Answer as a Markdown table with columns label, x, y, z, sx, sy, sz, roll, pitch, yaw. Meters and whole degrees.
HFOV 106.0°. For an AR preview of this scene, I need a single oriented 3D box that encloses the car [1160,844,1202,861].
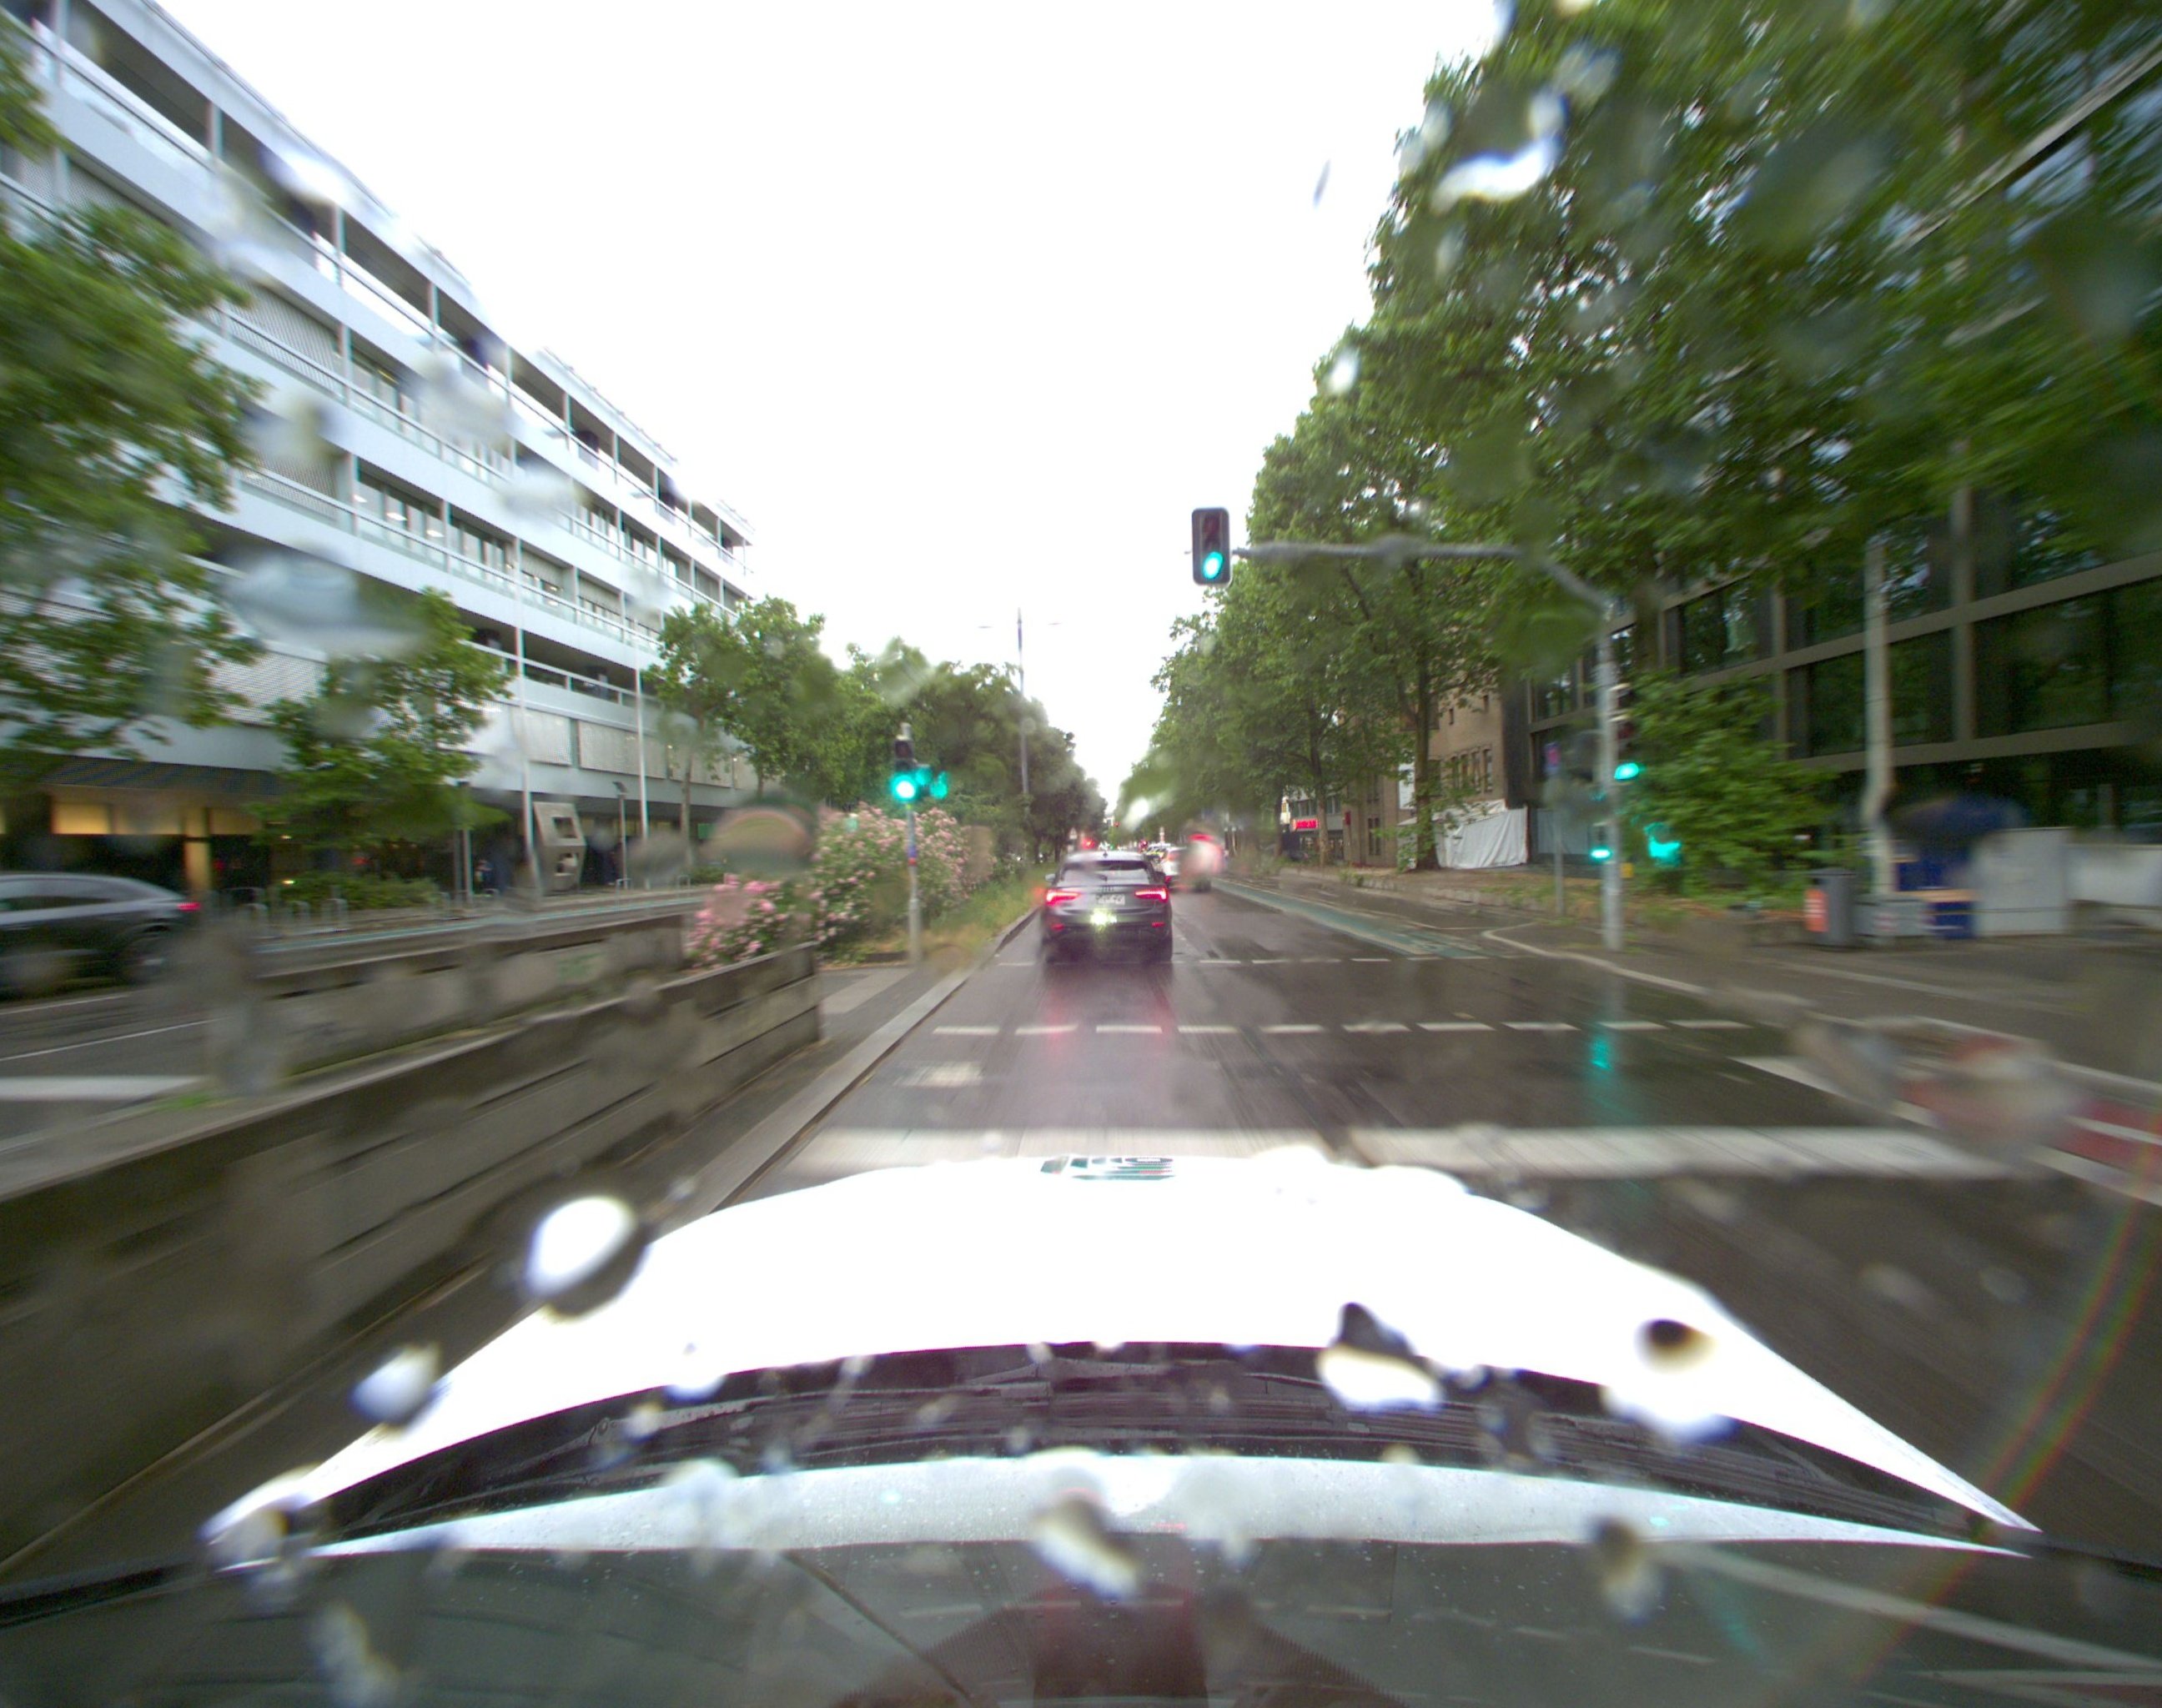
| label | x | y | z | sx | sy | sz | roll | pitch | yaw |
| --- | --- | --- | --- | --- | --- | --- | --- | --- | --- |
| car | 11.793 | -0.180 | 95.930 | 4.548 | 2.014 | 1.980 | -1 | -1 | 39 |

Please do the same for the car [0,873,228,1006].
| label | x | y | z | sx | sy | sz | roll | pitch | yaw |
| --- | --- | --- | --- | --- | --- | --- | --- | --- | --- |
| car | -14.140 | 1.066 | 10.079 | 1.900 | 1.584 | 4.753 | 0 | 0 | 5 |

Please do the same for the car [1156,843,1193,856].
| label | x | y | z | sx | sy | sz | roll | pitch | yaw |
| --- | --- | --- | --- | --- | --- | --- | --- | --- | --- |
| car | 12.591 | -0.583 | 109.647 | 4.594 | 1.706 | 2.012 | -1 | -1 | 29 |

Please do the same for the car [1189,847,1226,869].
| label | x | y | z | sx | sy | sz | roll | pitch | yaw |
| --- | --- | --- | --- | --- | --- | --- | --- | --- | --- |
| car | 8.512 | 0.277 | 55.143 | 1.866 | 1.421 | 4.612 | 0 | 0 | 1 |

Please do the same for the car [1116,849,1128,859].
| label | x | y | z | sx | sy | sz | roll | pitch | yaw |
| --- | --- | --- | --- | --- | --- | --- | --- | --- | --- |
| car | 6.907 | -0.062 | 137.794 | 1.986 | 1.651 | 4.001 | 0 | 0 | 2 |

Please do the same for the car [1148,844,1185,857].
| label | x | y | z | sx | sy | sz | roll | pitch | yaw |
| --- | --- | --- | --- | --- | --- | --- | --- | --- | --- |
| car | 11.919 | -0.502 | 113.354 | 4.594 | 1.706 | 2.012 | -1 | -1 | 29 |

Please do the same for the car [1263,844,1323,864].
| label | x | y | z | sx | sy | sz | roll | pitch | yaw |
| --- | --- | --- | --- | --- | --- | --- | --- | --- | --- |
| car | 11.746 | 0.007 | 45.120 | 2.856 | 1.074 | 1.465 | -1 | -1 | 32 |

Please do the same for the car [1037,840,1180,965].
| label | x | y | z | sx | sy | sz | roll | pitch | yaw |
| --- | --- | --- | --- | --- | --- | --- | --- | --- | --- |
| car | 0.373 | 0.631 | 12.681 | 1.843 | 1.602 | 4.000 | -1 | 0 | 0 |

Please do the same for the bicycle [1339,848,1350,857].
| label | x | y | z | sx | sy | sz | roll | pitch | yaw |
| --- | --- | --- | --- | --- | --- | --- | --- | --- | --- |
| bicycle | 25.863 | -0.135 | 80.020 | 0.446 | 0.836 | 2.027 | 0 | 0 | 2 |

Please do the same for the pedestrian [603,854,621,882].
| label | x | y | z | sx | sy | sz | roll | pitch | yaw |
| --- | --- | --- | --- | --- | --- | --- | --- | --- | --- |
| pedestrian | -24.891 | 0.743 | 43.247 | 0.608 | 1.482 | 0.574 | 0 | -1 | -2 |

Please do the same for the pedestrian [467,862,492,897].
| label | x | y | z | sx | sy | sz | roll | pitch | yaw |
| --- | --- | --- | --- | --- | --- | --- | --- | --- | --- |
| pedestrian | -24.298 | 1.017 | 32.894 | 0.636 | 1.379 | 0.474 | 0 | -1 | -2 |

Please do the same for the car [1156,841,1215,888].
| label | x | y | z | sx | sy | sz | roll | pitch | yaw |
| --- | --- | --- | --- | --- | --- | --- | --- | --- | --- |
| car | 3.971 | 0.382 | 31.451 | 1.871 | 1.697 | 4.001 | 0 | 0 | 1 |

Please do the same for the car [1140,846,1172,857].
| label | x | y | z | sx | sy | sz | roll | pitch | yaw |
| --- | --- | --- | --- | --- | --- | --- | --- | --- | --- |
| car | 11.718 | -0.340 | 127.226 | 4.594 | 1.706 | 2.012 | -1 | -1 | 29 |

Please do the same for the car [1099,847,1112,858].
| label | x | y | z | sx | sy | sz | roll | pitch | yaw |
| --- | --- | --- | --- | --- | --- | --- | --- | --- | --- |
| car | 3.766 | -0.277 | 127.768 | 1.987 | 1.726 | 4.000 | 0 | 0 | 1 |
